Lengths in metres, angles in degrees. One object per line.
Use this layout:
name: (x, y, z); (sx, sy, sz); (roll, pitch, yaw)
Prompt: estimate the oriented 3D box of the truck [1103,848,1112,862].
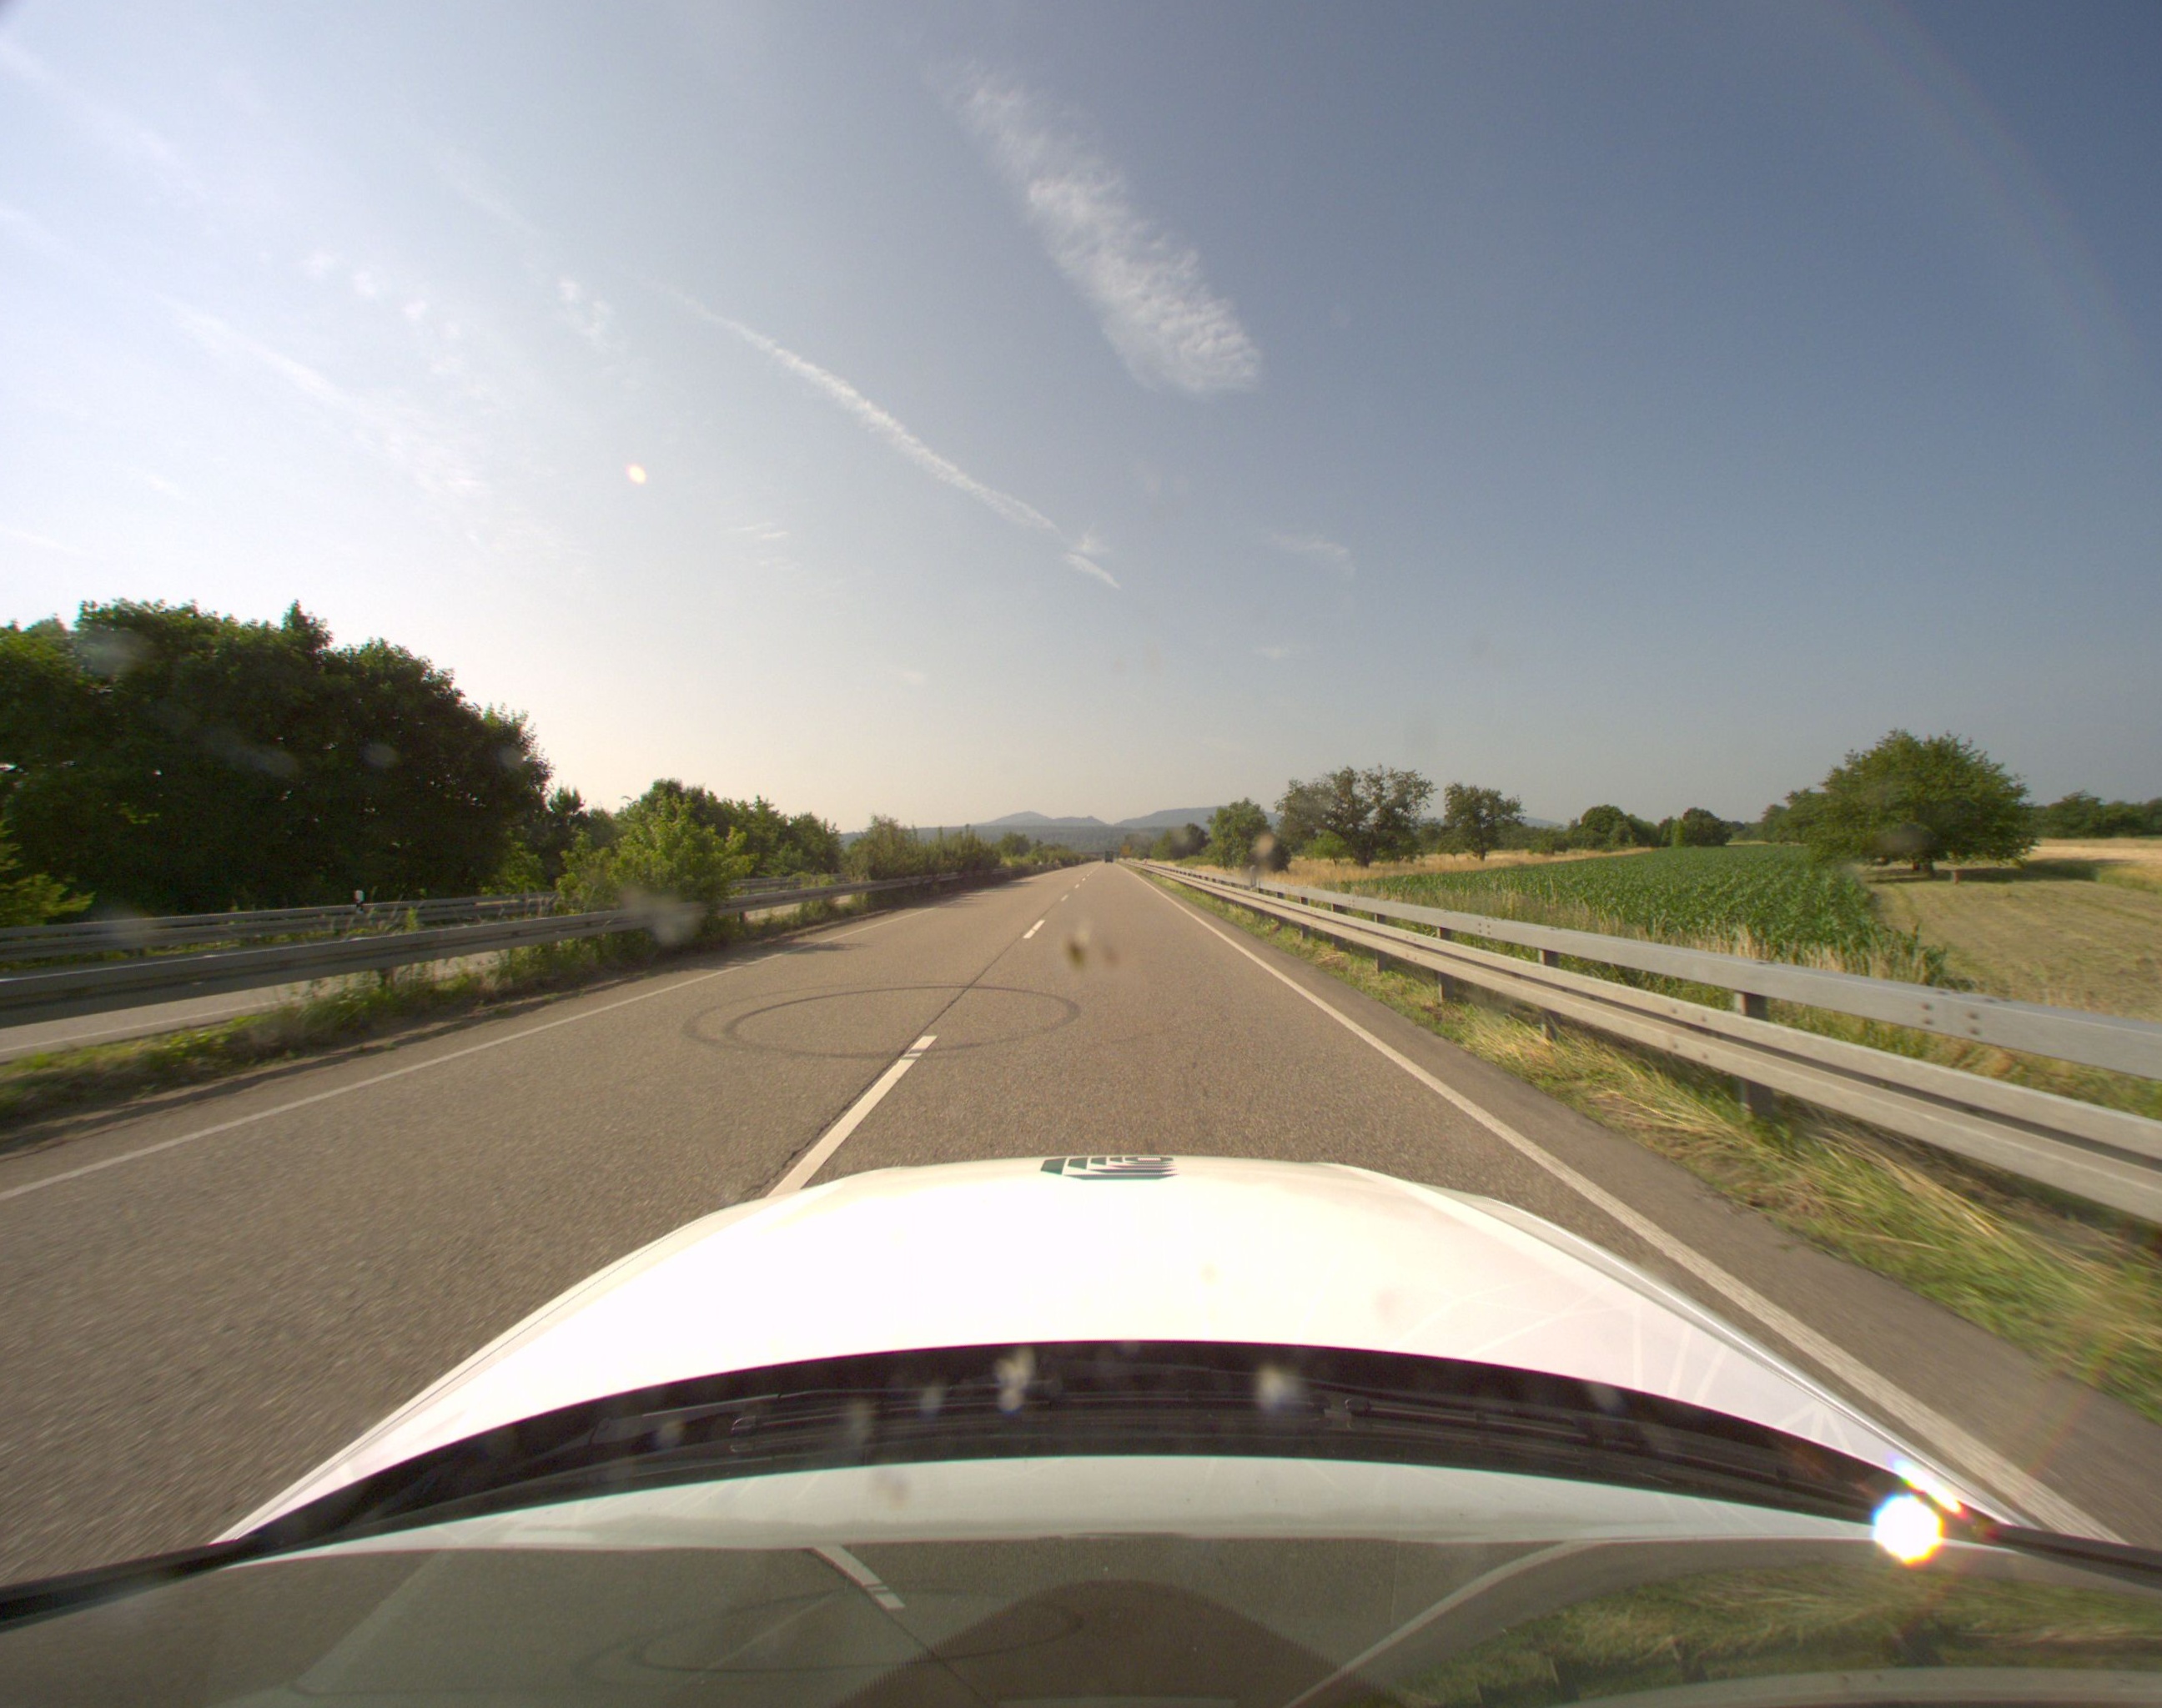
truck: (8.271, 0.299, 251.034); (2.711, 3.965, 10.421); (0, 0, 2)
